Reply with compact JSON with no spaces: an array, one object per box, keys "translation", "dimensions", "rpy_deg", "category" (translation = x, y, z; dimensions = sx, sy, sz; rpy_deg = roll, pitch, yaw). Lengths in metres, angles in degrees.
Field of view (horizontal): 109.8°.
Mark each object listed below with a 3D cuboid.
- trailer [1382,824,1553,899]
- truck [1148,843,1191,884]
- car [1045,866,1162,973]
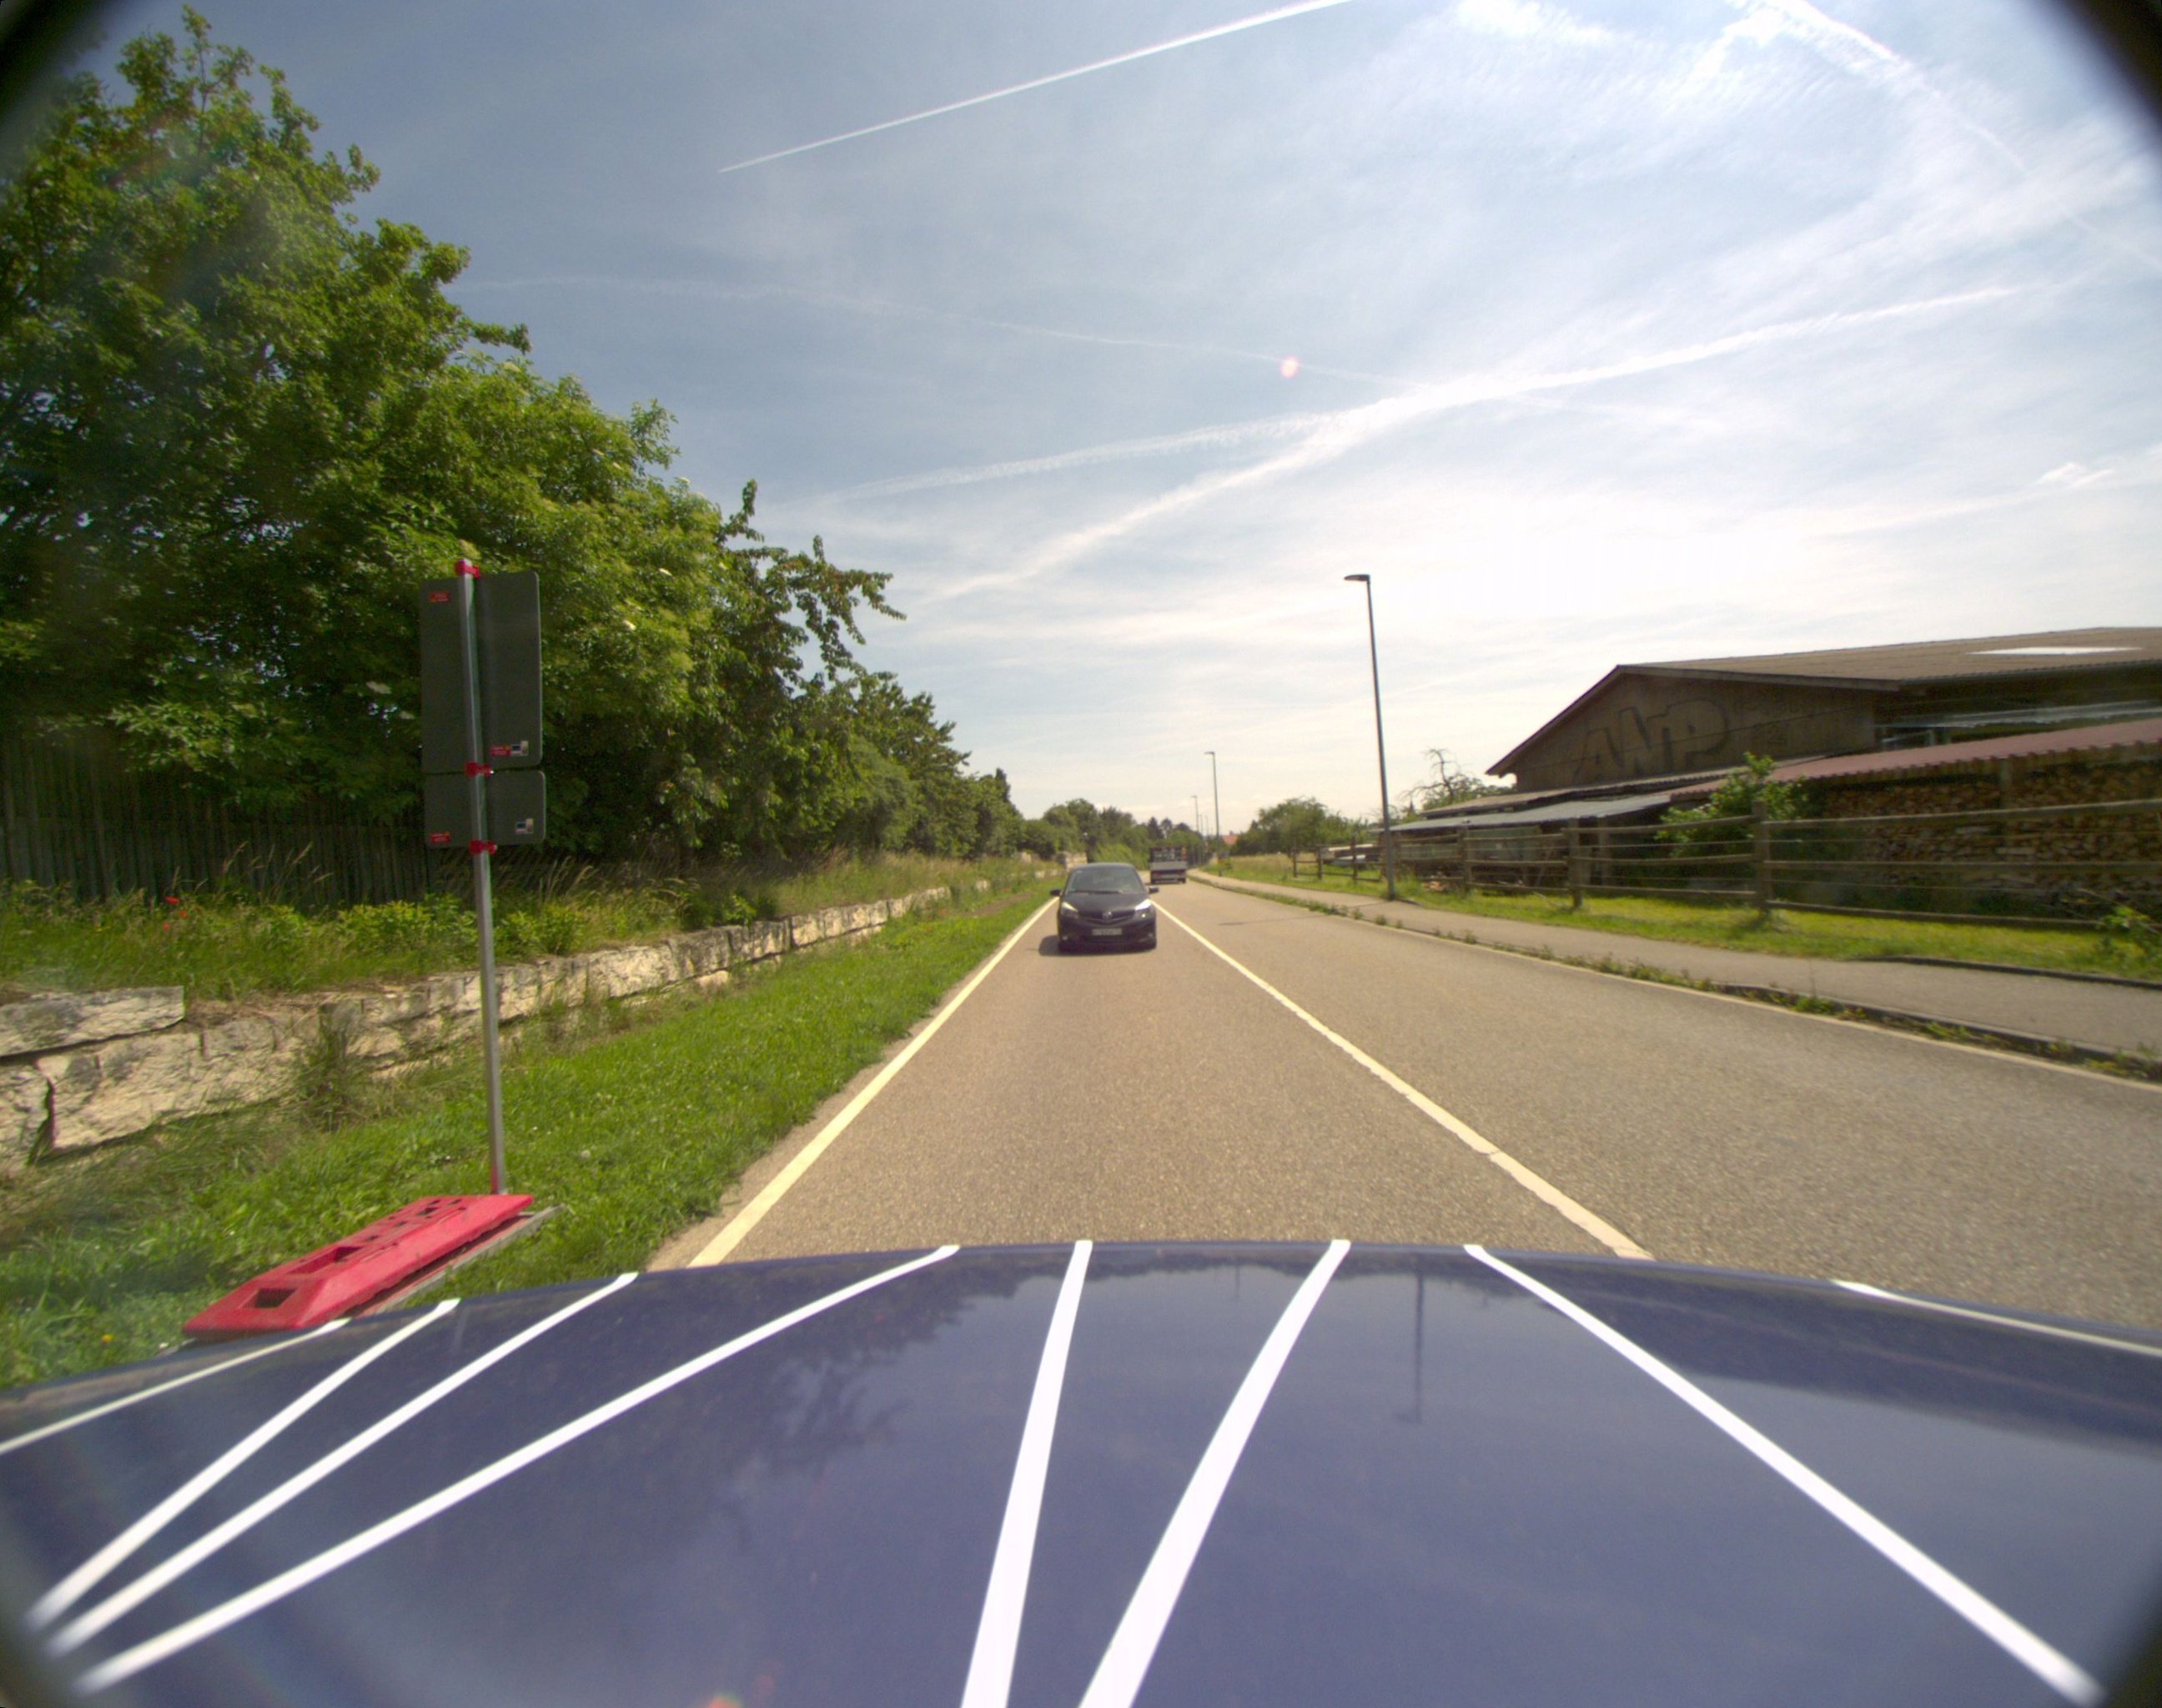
[{"translation":[10.290,0.168,20.797],"dimensions":[2.160,1.693,5.029],"rpy_deg":[-3,0,1],"category":"trailer"},{"translation":[5.366,0.522,46.891],"dimensions":[2.227,2.280,6.493],"rpy_deg":[-3,0,4],"category":"truck"},{"translation":[0.408,1.008,13.452],"dimensions":[1.677,1.456,4.433],"rpy_deg":[-2,0,2],"category":"car"}]
